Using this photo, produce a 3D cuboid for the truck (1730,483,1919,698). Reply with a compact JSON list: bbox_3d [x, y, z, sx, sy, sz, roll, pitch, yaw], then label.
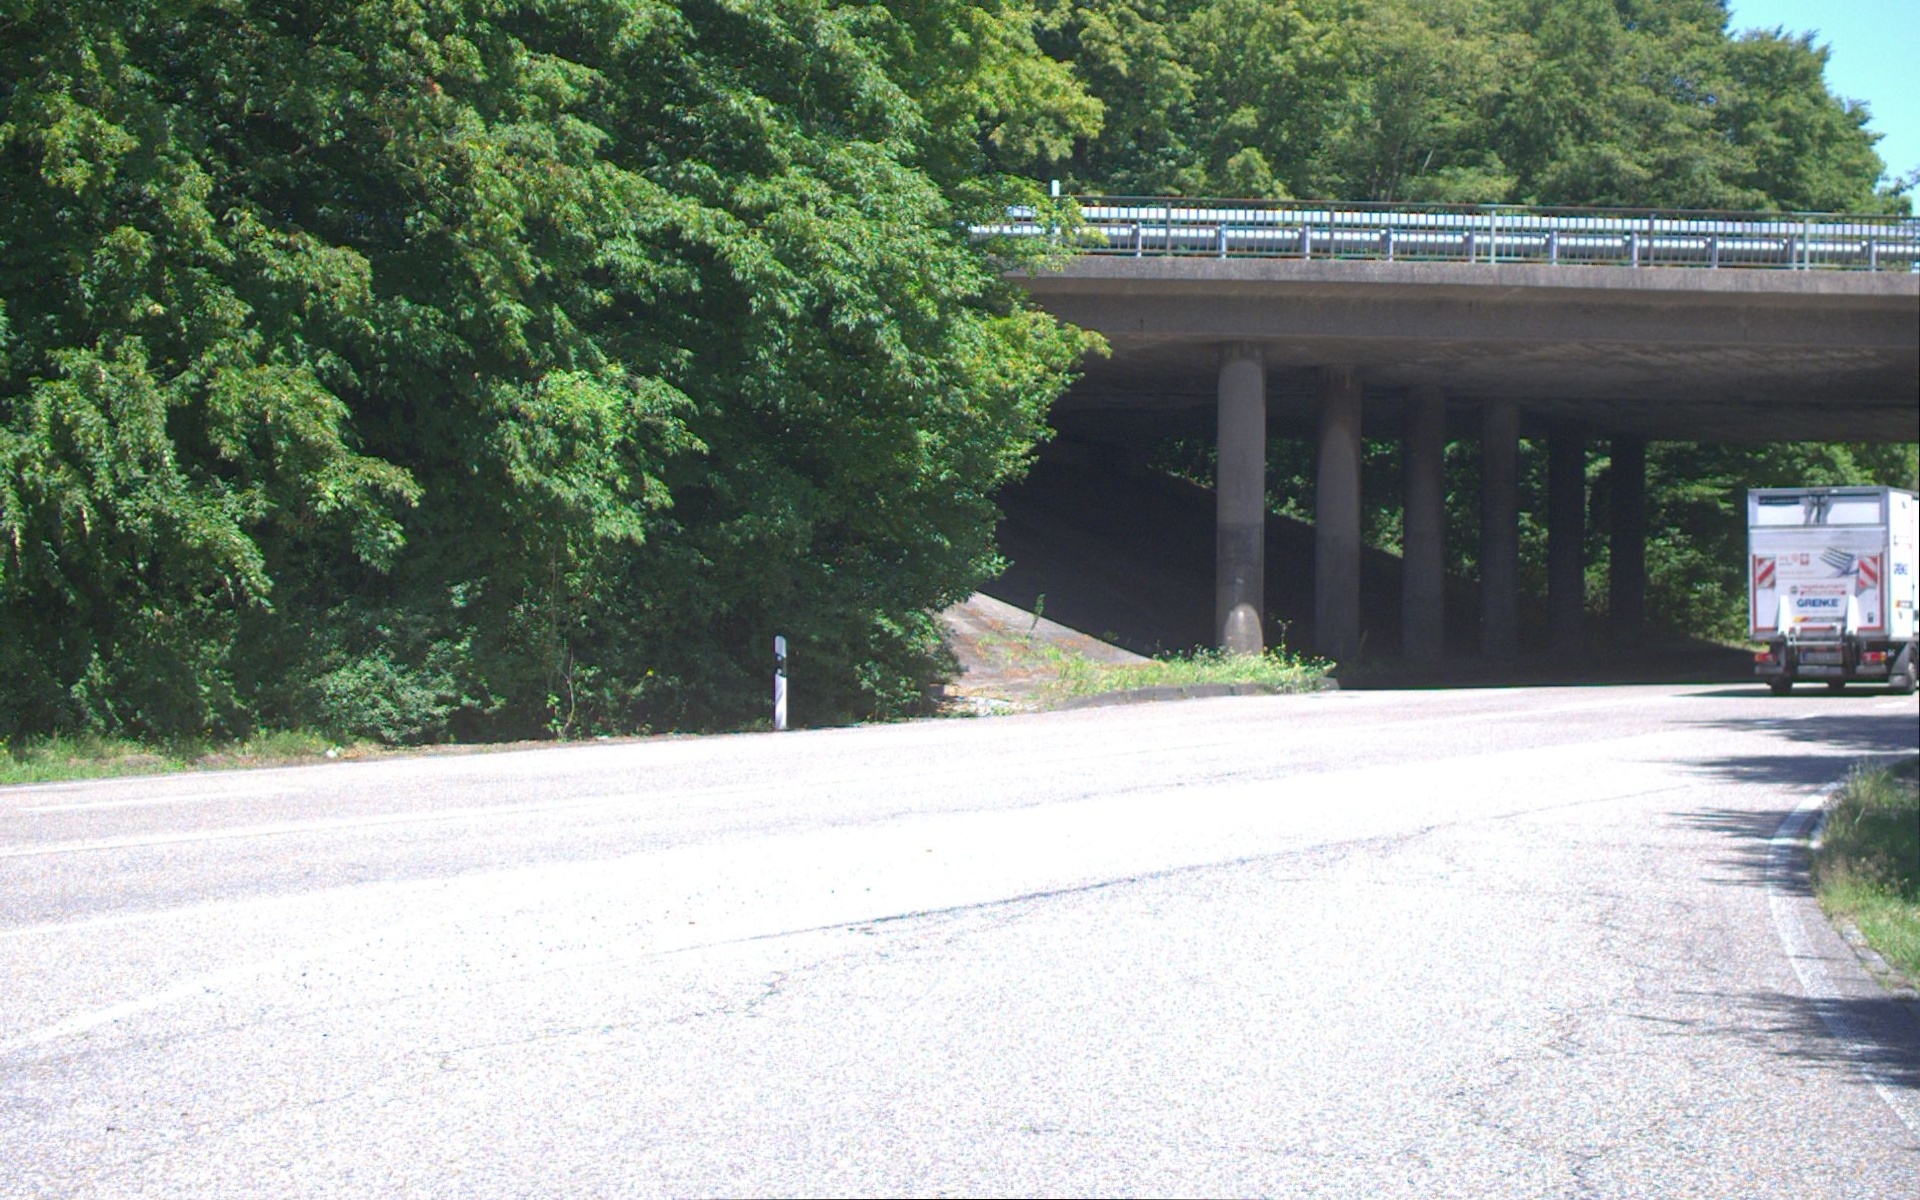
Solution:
[{"bbox_3d":[13.256,-0.121,50.683,2.244,2.975,5.885,0,0,28],"label":"truck"}]
